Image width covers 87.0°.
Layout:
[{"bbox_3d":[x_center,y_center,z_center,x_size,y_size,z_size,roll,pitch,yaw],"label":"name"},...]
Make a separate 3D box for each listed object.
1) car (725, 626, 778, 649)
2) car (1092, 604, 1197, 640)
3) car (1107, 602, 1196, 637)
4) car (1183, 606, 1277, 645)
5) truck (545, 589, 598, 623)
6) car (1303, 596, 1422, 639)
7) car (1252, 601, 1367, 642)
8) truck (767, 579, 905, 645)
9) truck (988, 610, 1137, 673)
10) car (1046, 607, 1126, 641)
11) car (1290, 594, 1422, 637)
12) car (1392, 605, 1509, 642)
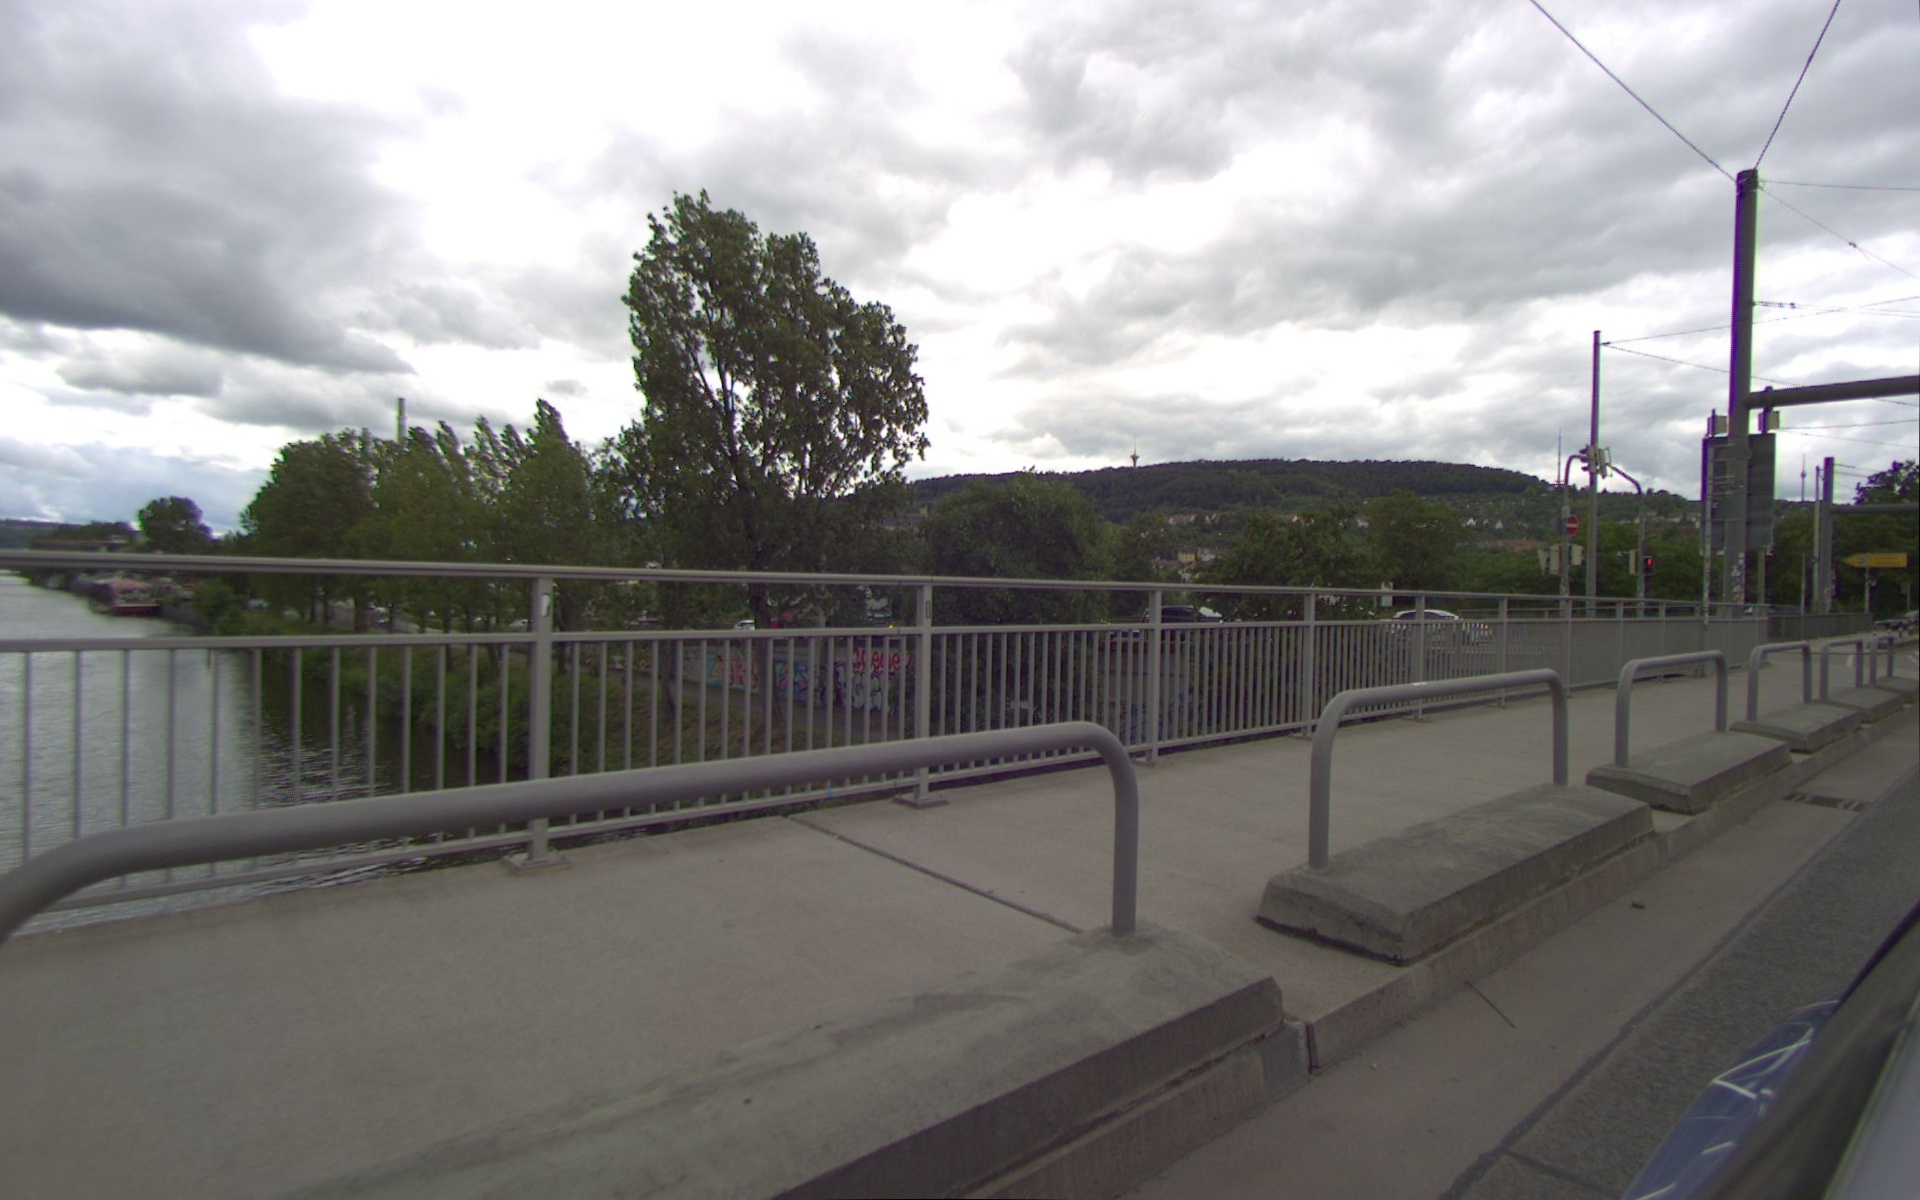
[{"bbox_3d":[-15.811,2.817,76.617,1.889,1.559,4.383,-1,0,-42],"label":"car"},{"bbox_3d":[9.082,1.068,50.188,1.966,1.640,4.953,-2,0,-41],"label":"car"},{"bbox_3d":[8.780,0.883,46.612,1.667,1.559,3.751,-1,0,-42],"label":"car"},{"bbox_3d":[11.607,1.084,43.625,1.667,1.559,3.615,-1,0,-42],"label":"car"},{"bbox_3d":[-62.985,0.883,163.767,3.527,4.540,13.161,1,3,-42],"label":"truck"},{"bbox_3d":[15.761,0.684,39.775,1.667,1.559,3.999,-2,0,-42],"label":"car"},{"bbox_3d":[15.112,0.905,43.931,1.966,1.640,4.335,-2,0,-41],"label":"car"},{"bbox_3d":[-8.119,0.696,64.837,3.173,3.928,10.402,1,0,-44],"label":"truck"},{"bbox_3d":[8.590,3.409,87.993,3.323,3.964,14.411,1,3,-41],"label":"truck"},{"bbox_3d":[6.148,1.141,49.628,1.667,1.559,3.751,-1,0,-42],"label":"car"},{"bbox_3d":[14.318,0.549,36.709,1.668,1.438,4.143,-2,0,-43],"label":"car"},{"bbox_3d":[19.296,0.908,39.874,1.761,1.329,3.756,-2,0,-42],"label":"car"}]
